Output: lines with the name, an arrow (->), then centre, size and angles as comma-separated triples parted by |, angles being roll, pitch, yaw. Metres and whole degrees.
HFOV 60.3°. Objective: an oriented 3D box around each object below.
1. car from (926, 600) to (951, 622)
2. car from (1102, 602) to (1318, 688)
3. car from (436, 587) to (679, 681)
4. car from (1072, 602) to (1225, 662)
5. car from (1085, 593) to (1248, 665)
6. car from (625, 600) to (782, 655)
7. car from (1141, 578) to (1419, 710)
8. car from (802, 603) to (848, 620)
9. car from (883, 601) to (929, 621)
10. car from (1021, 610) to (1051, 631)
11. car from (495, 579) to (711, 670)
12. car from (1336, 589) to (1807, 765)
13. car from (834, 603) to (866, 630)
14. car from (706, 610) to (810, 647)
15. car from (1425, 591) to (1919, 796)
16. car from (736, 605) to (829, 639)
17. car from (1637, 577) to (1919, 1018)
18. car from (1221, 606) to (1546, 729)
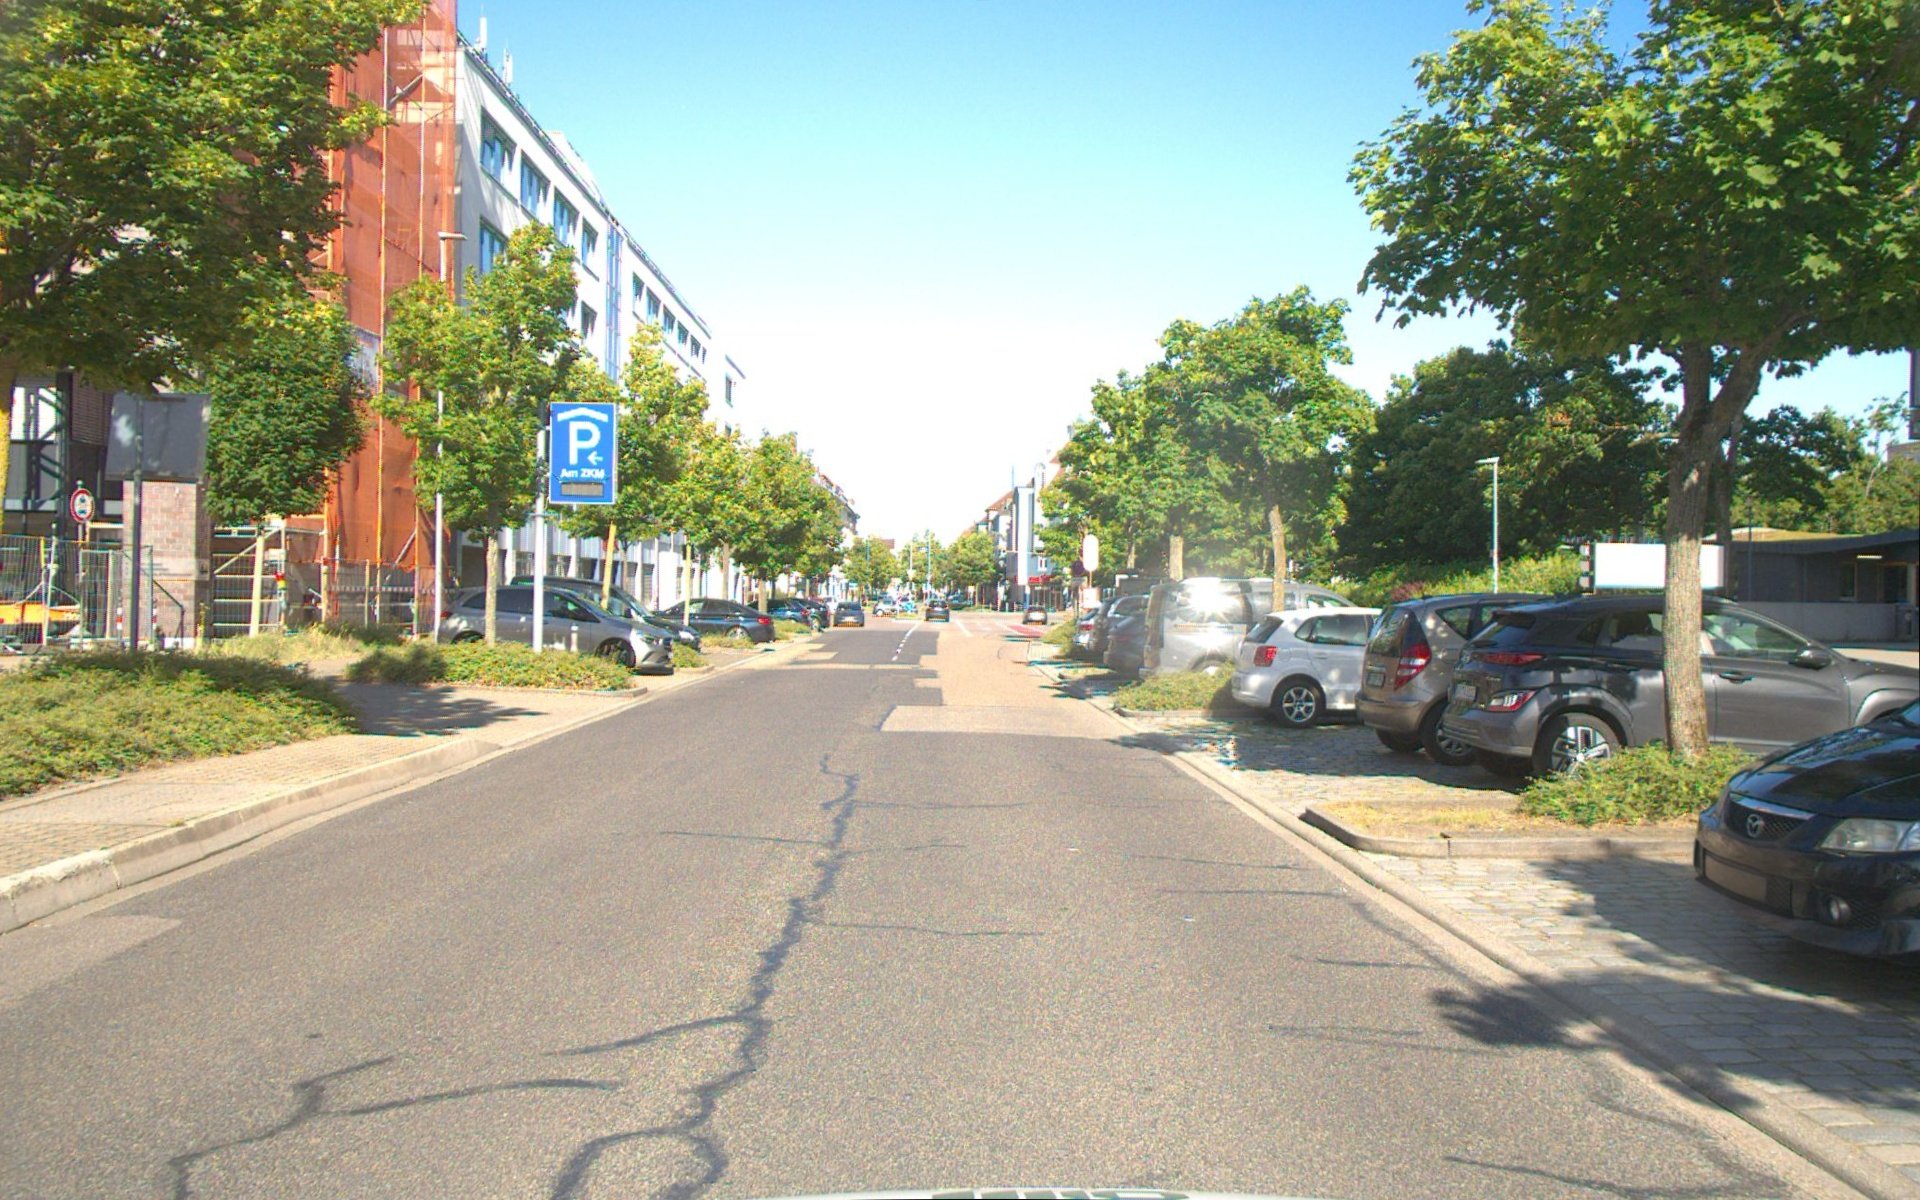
car -> -1.606, 0.825, 125.317 | 1.774, 1.500, 4.111 | 0, 1, 0
car -> 4.602, 0.819, 30.915 | 3.831, 1.500, 1.796 | 0, 1, 3
car -> -7.517, 0.612, 31.151 | 4.176, 1.694, 1.599 | 0, 1, -2
car -> 4.839, 0.828, 42.791 | 3.831, 1.500, 1.758 | 0, -2, 3
car -> 4.999, 0.694, 40.416 | 3.831, 1.671, 1.878 | 0, 1, 3
car -> -7.227, 0.771, 46.931 | 4.246, 1.500, 1.816 | 0, 1, -5
car -> 4.804, 0.634, 25.184 | 3.905, 1.912, 1.682 | 0, 1, -1
car -> -12.027, 1.019, 147.279 | 4.014, 1.500, 1.817 | 0, 1, -2
car -> -4.686, 0.948, 142.766 | 3.910, 1.588, 1.998 | 0, 1, -6
car -> 5.896, 1.615, 129.321 | 1.949, 1.500, 4.108 | 0, 1, -3
car -> -7.662, 0.506, 35.778 | 4.242, 1.894, 1.818 | 0, 1, 0
car -> 5.895, 0.716, 16.324 | 3.905, 1.610, 2.031 | 0, 0, -1
car -> -6.530, 0.980, 98.436 | 1.775, 1.500, 4.109 | 0, 1, -2
car -> -8.658, 1.201, 71.174 | 4.243, 1.500, 1.817 | 0, 1, -2
car -> 6.067, 0.737, 13.721 | 3.905, 1.565, 1.861 | 0, -1, -1
car -> -8.330, 1.018, 77.873 | 4.243, 1.500, 1.817 | 0, 1, -2
car -> 5.242, 0.704, 6.995 | 4.061, 1.607, 1.740 | 0, 0, -2
car -> 5.347, 0.833, 21.199 | 3.689, 1.485, 1.817 | 0, 0, -2
